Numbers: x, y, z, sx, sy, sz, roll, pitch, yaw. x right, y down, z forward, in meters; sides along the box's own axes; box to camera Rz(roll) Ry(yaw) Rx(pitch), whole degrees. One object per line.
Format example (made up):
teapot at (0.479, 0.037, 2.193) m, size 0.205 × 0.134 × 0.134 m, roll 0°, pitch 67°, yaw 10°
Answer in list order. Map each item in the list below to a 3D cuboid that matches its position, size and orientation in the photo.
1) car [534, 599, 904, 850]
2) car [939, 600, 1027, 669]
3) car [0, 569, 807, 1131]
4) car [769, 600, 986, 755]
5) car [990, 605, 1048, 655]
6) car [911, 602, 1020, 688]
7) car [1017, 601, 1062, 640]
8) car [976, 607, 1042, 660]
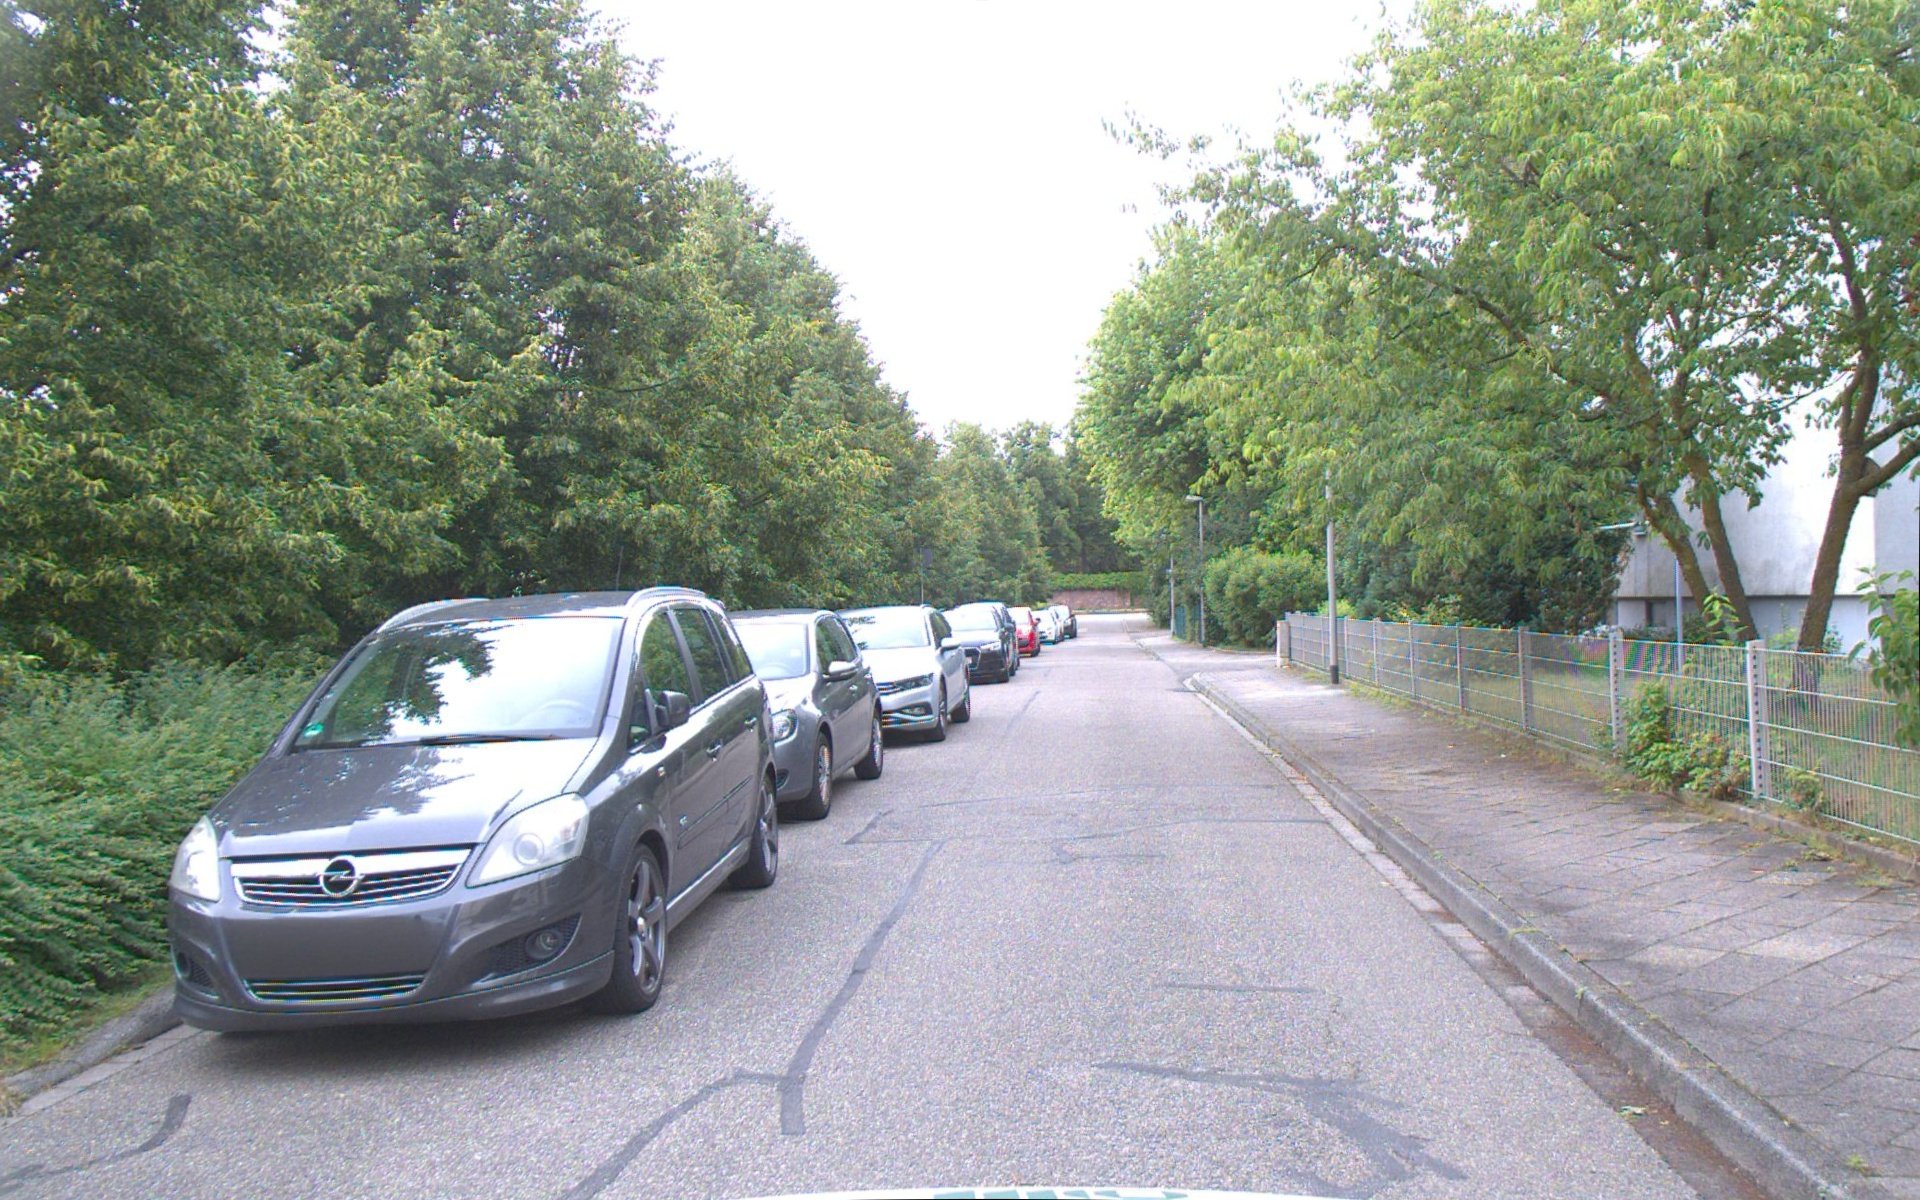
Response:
car at (-1.648, 0.808, 12.856) m, size 1.720 × 1.504 × 4.309 m, roll -4°, pitch 0°, yaw 6°
car at (0.592, 0.783, 39.404) m, size 1.715 × 1.450 × 4.003 m, roll -4°, pitch 0°, yaw 5°
car at (-1.944, 0.768, 7.336) m, size 1.721 × 1.621 × 4.555 m, roll -4°, pitch 0°, yaw 4°
car at (-0.813, 0.796, 19.128) m, size 1.739 × 1.453 × 4.482 m, roll -4°, pitch 0°, yaw 6°
car at (2.098, 1.019, 57.744) m, size 1.715 × 1.546 × 4.003 m, roll -4°, pitch 0°, yaw 5°
car at (0.166, 0.832, 32.443) m, size 1.715 × 1.450 × 4.003 m, roll -4°, pitch 0°, yaw 5°
car at (3.545, 0.886, 73.294) m, size 1.715 × 1.546 × 4.003 m, roll -3°, pitch 0°, yaw 5°
car at (1.554, 0.997, 50.953) m, size 1.715 × 1.450 × 4.003 m, roll -4°, pitch 0°, yaw 5°
